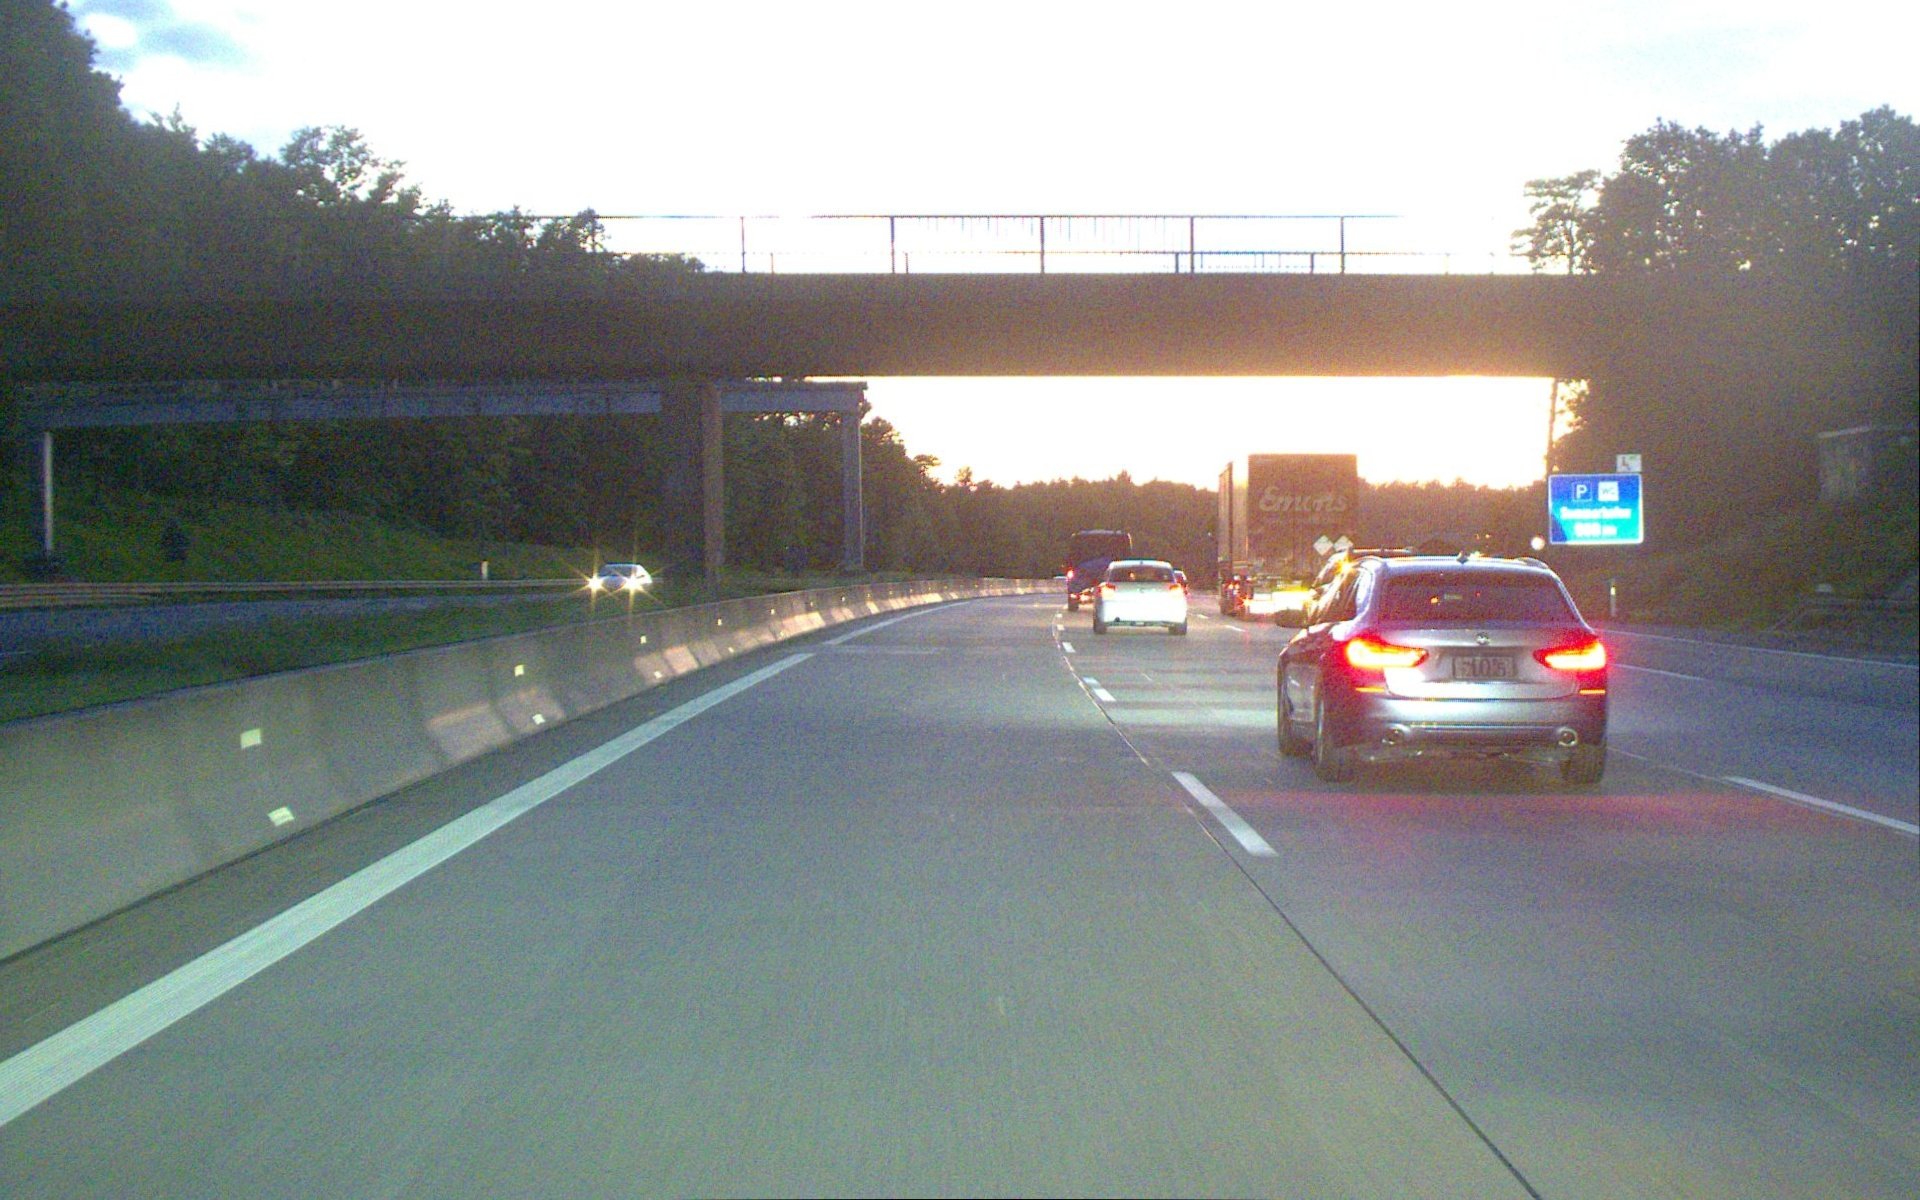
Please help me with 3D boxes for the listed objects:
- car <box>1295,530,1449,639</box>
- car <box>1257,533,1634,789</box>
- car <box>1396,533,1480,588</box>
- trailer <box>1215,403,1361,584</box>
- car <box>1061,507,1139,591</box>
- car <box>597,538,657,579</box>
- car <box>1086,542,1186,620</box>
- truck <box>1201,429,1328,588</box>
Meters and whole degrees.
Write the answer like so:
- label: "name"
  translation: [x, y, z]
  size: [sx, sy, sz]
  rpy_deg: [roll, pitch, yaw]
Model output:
- label: "car"
  translation: [6.448, -0.260, 54.267]
  size: [1.903, 1.638, 5.052]
  rpy_deg: [0, 1, 1]
- label: "car"
  translation: [3.225, 0.326, 23.876]
  size: [1.909, 1.532, 5.232]
  rpy_deg: [0, 2, 0]
- label: "car"
  translation: [12.825, -1.053, 92.420]
  size: [1.859, 1.437, 4.111]
  rpy_deg: [0, 0, 3]
- label: "trailer"
  translation: [7.975, -2.483, 84.683]
  size: [2.907, 4.087, 10.356]
  rpy_deg: [0, 0, 2]
- label: "car"
  translation: [4.195, -1.479, 102.198]
  size: [2.166, 2.410, 5.563]
  rpy_deg: [0, 0, 4]
- label: "car"
  translation: [-12.817, -1.615, 132.540]
  size: [1.811, 1.515, 4.430]
  rpy_deg: [0, 2, 1]
- label: "car"
  translation: [3.408, -0.387, 67.224]
  size: [1.859, 1.437, 3.720]
  rpy_deg: [0, 2, 1]
- label: "truck"
  translation: [8.325, -2.416, 95.268]
  size: [2.885, 4.087, 10.831]
  rpy_deg: [0, 0, 2]
